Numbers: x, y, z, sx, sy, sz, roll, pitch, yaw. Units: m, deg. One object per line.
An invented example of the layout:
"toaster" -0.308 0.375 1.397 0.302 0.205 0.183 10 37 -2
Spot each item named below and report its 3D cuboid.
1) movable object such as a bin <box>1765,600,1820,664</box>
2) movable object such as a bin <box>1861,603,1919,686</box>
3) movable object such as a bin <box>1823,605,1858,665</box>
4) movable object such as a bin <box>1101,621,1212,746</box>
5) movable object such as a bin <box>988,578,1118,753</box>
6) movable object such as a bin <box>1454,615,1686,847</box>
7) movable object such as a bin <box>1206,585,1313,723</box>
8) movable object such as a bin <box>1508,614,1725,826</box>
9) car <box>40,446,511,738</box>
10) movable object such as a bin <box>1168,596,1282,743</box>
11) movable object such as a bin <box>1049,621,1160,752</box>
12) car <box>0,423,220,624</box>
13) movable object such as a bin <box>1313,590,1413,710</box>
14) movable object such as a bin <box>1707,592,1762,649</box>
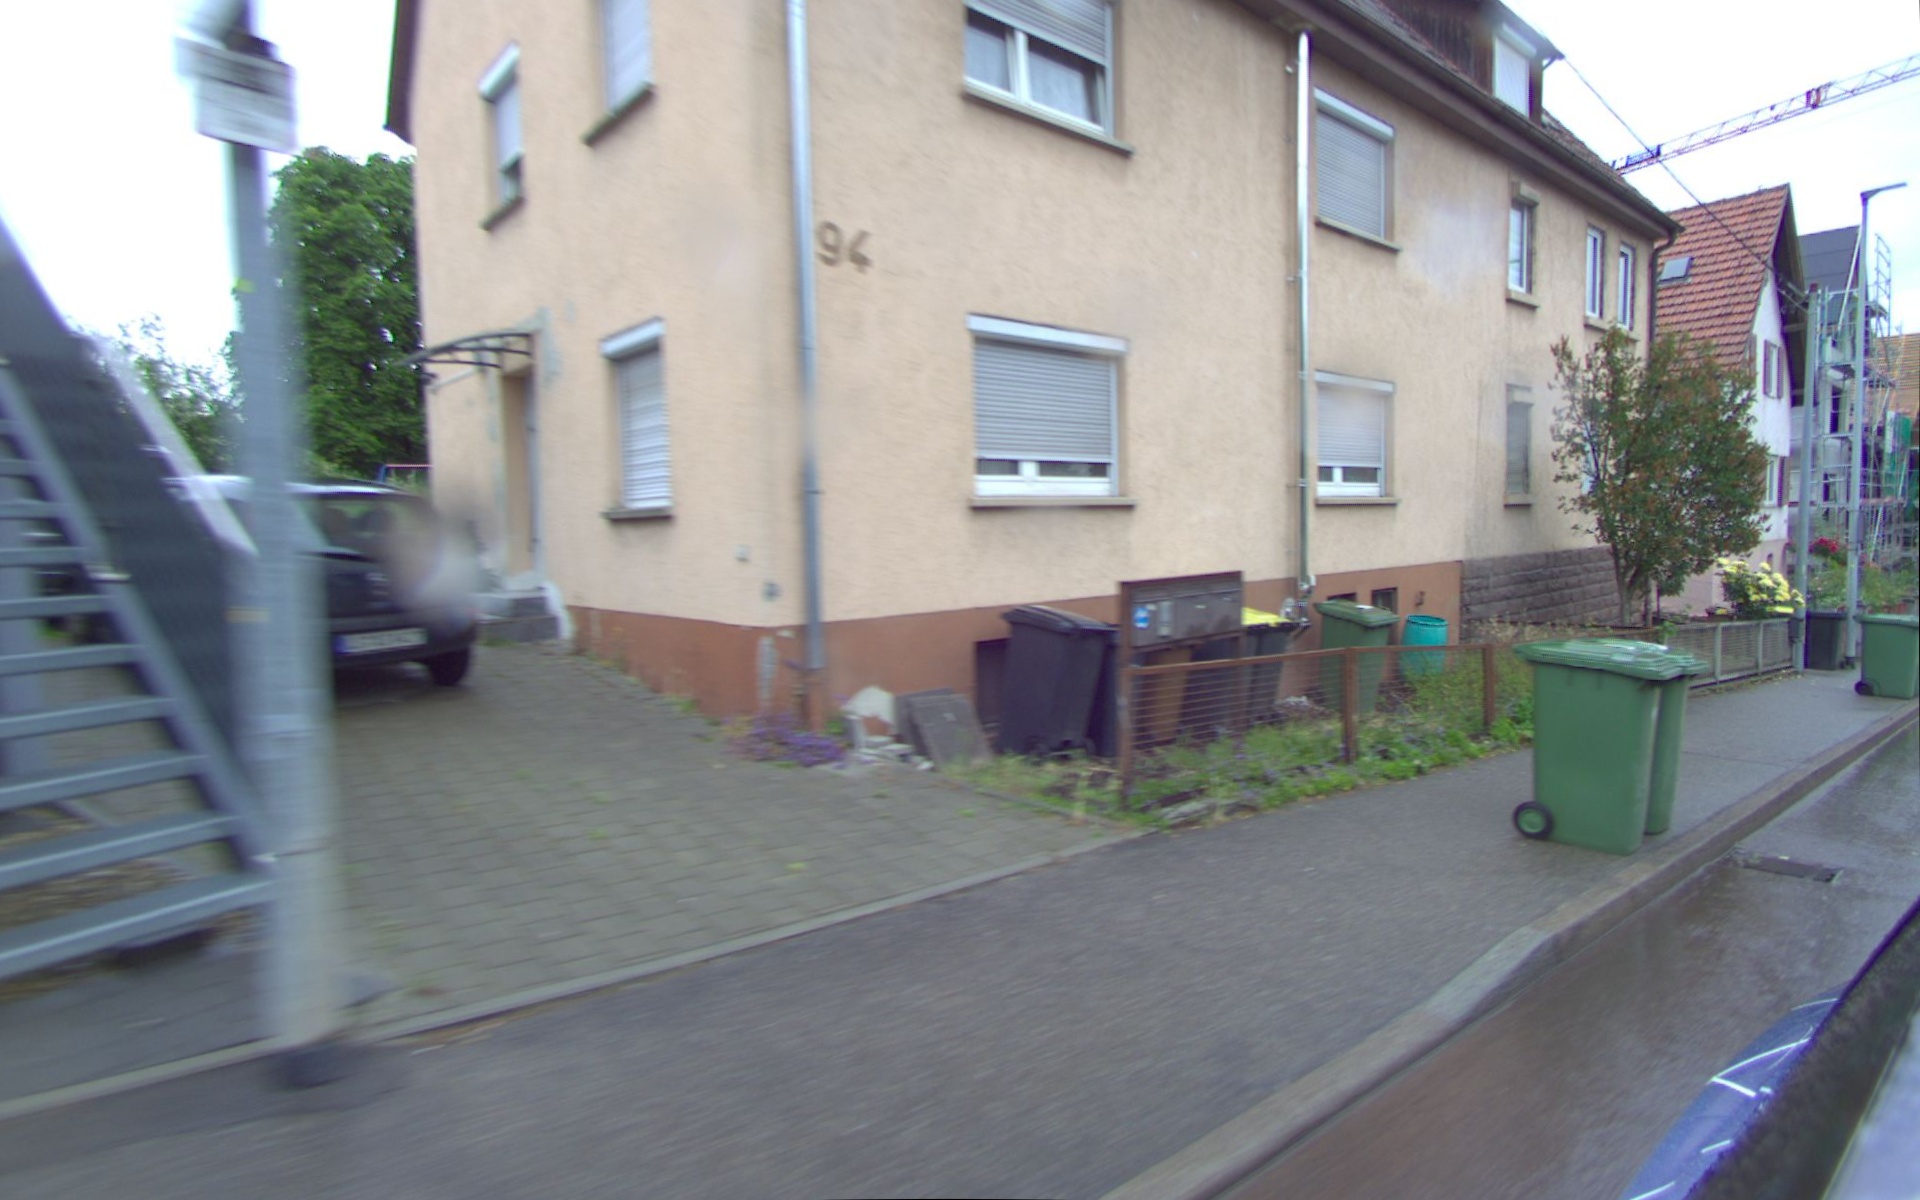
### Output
"movable object such as a bin" 15.186 0.566 18.466 0.779 1.089 0.610 0 5 -43
"movable object such as a bin" 12.737 0.583 13.655 0.785 1.065 0.722 0 1 -38
"movable object such as a bin" 15.486 0.611 17.801 0.479 1.031 0.380 0 1 -41
"movable object such as a bin" 1.551 0.636 8.018 0.527 0.906 0.671 0 1 -41
"movable object such as a bin" 0.649 0.428 7.110 0.536 1.106 0.662 0 5 -42
"movable object such as a bin" 3.374 0.665 5.626 0.689 1.117 0.916 0 1 -38
"movable object such as a bin" 2.636 0.451 8.921 0.536 1.106 0.646 0 5 -42
"movable object such as a bin" 3.939 0.660 6.096 0.689 1.117 0.916 0 1 -38
"car" -5.203 -0.259 7.504 3.983 1.465 1.760 10 8 38
"movable object such as a bin" 2.205 0.547 8.434 0.536 1.106 0.662 0 5 -42
"movable object such as a bin" 1.092 0.634 7.685 0.527 0.906 0.639 0 1 -41
"car" -8.917 -0.755 9.812 3.965 1.600 1.698 6 2 37
"movable object such as a bin" 4.064 0.476 10.208 0.645 1.106 0.661 0 5 -42
"movable object such as a bin" 14.770 0.375 19.303 0.779 0.978 0.611 0 7 -43
